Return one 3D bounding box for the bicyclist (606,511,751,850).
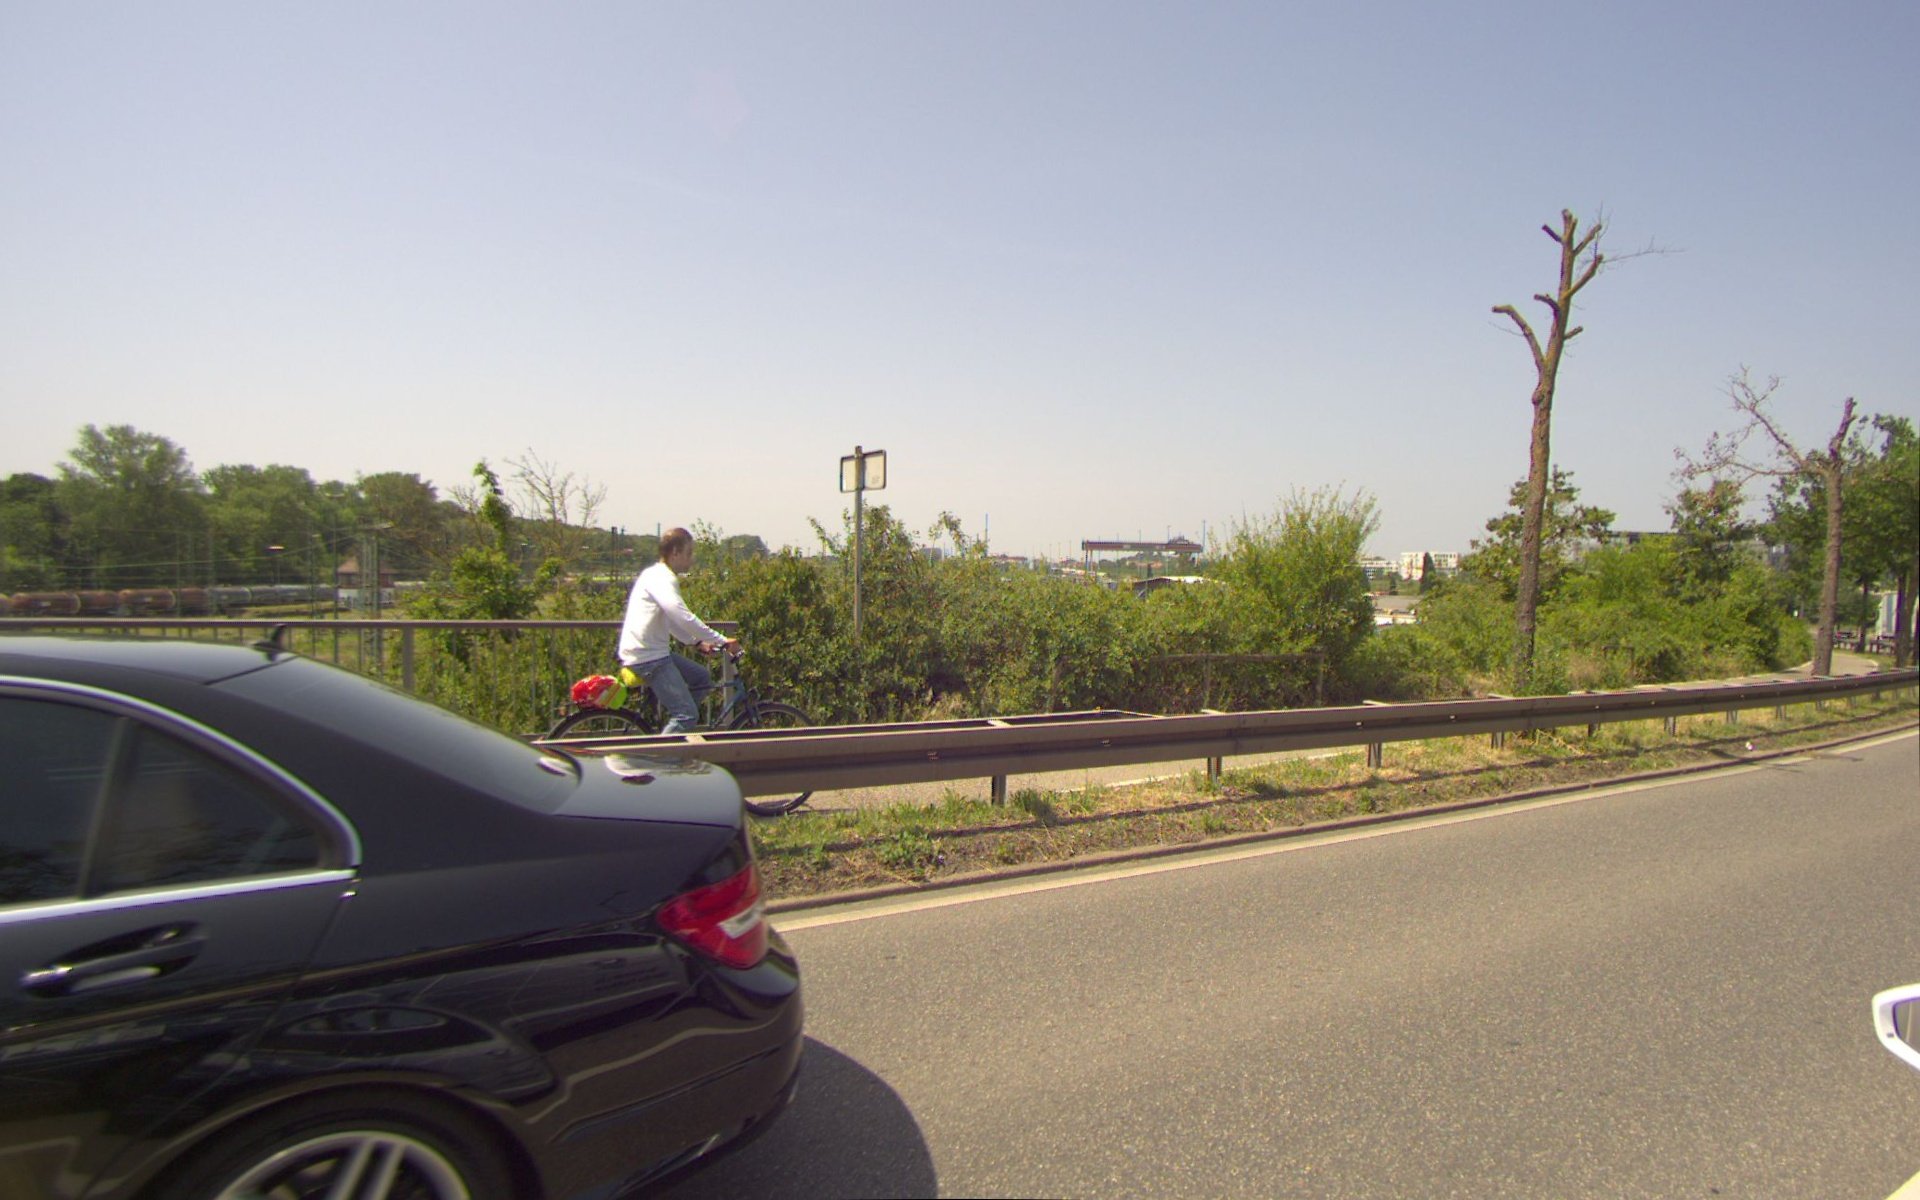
[{"bbox_3d":[-1.713,0.450,6.098,0.704,1.911,0.621,-1,1,-31],"label":"bicyclist"}]

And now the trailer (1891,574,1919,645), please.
[{"bbox_3d":[63.562,0.565,64.891,3.523,4.443,11.400,1,1,35],"label":"trailer"}]

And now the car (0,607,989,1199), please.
[{"bbox_3d":[-2.110,0.744,1.974,4.079,1.462,1.669,1,-1,-29],"label":"car"}]

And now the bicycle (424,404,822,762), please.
[{"bbox_3d":[-1.954,-0.093,5.992,2.156,1.826,0.694,-1,1,-32],"label":"bicycle"}]
